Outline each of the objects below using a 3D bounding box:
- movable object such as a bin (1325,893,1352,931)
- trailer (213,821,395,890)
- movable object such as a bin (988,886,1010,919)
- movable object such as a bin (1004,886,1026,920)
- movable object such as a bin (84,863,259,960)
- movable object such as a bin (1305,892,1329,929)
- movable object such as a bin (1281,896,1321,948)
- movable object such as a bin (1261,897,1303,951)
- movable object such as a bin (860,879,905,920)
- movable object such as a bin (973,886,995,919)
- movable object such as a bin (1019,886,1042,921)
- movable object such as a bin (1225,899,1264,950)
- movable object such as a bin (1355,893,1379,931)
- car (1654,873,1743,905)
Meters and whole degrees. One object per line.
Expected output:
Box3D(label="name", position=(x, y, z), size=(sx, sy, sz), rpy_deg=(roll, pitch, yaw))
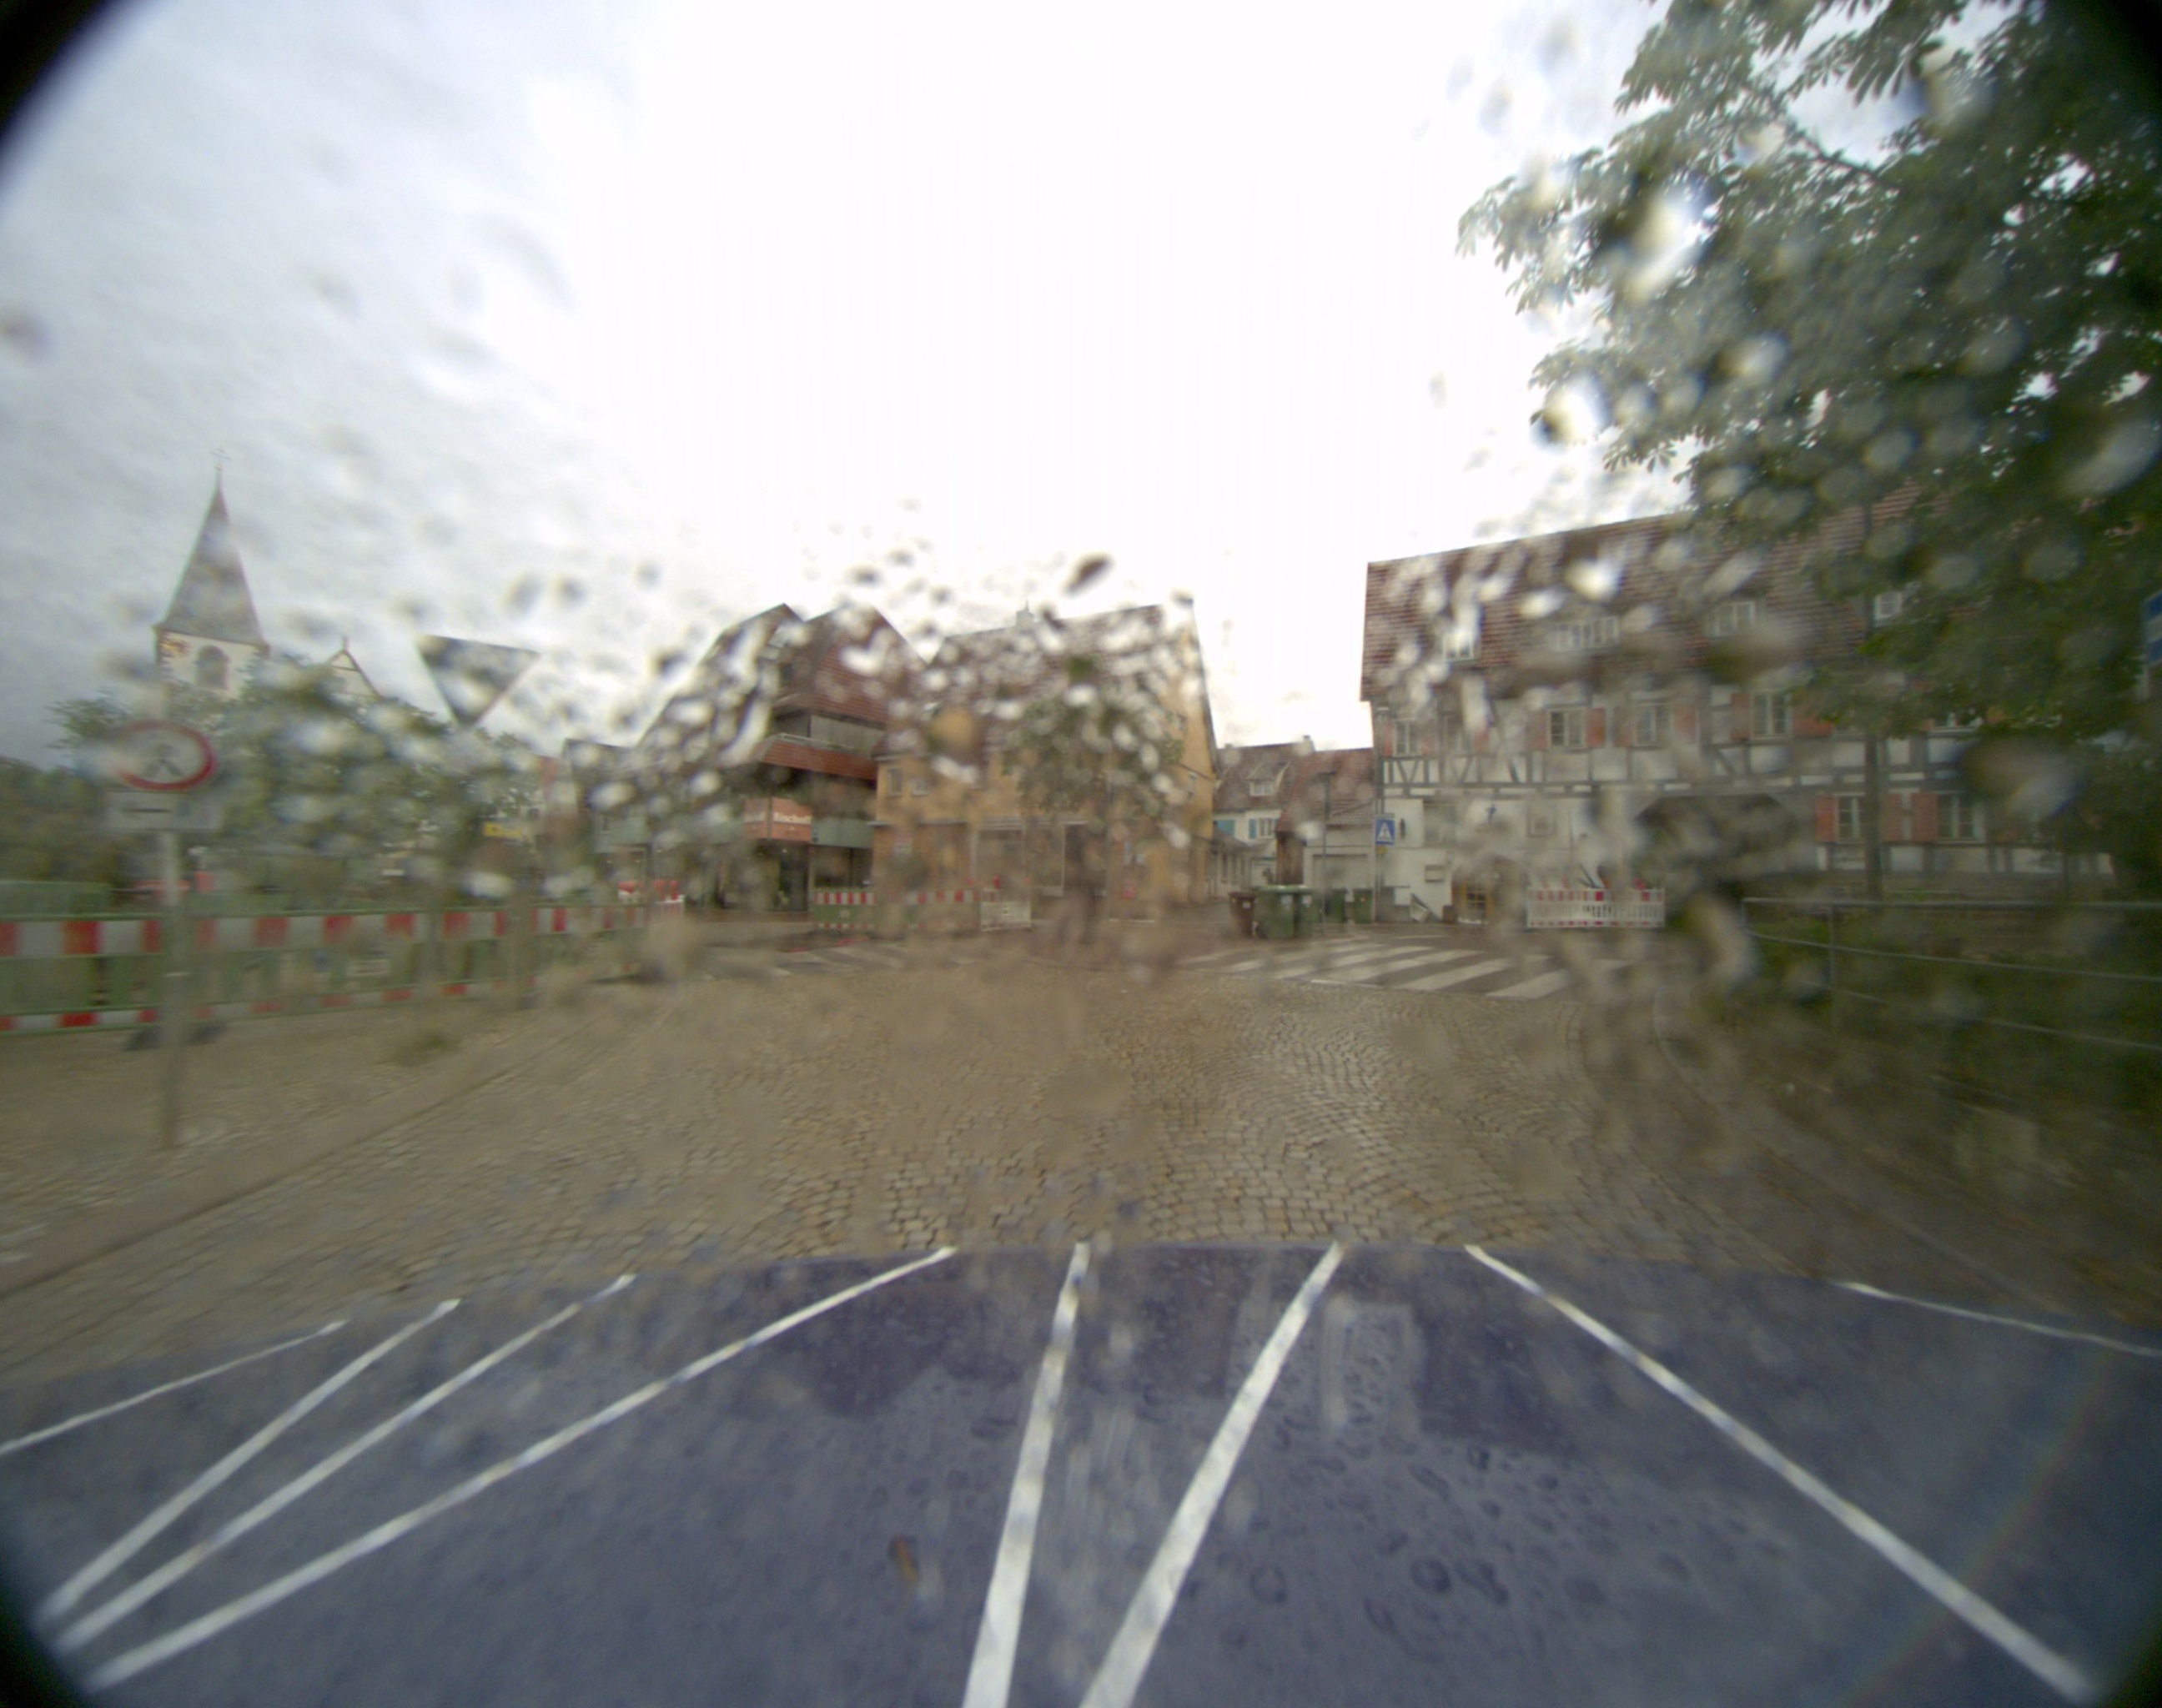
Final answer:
Box3D(label="movable object such as a bin", position=(7.445, 1.658, 21.954), size=(0.538, 1.059, 0.619), rpy_deg=(-3, -2, 37))
Box3D(label="trailer", position=(-37.453, 0.187, 36.937), size=(1.996, 2.928, 5.811), rpy_deg=(-1, -4, 16))
Box3D(label="movable object such as a bin", position=(-2.847, 1.685, 26.504), size=(0.578, 1.127, 0.518), rpy_deg=(1, 1, 24))
Box3D(label="movable object such as a bin", position=(-2.294, 1.693, 26.253), size=(0.578, 1.122, 0.518), rpy_deg=(1, 1, 24))
Box3D(label="movable object such as a bin", position=(-21.109, 1.284, 17.623), size=(3.990, 2.001, 1.915), rpy_deg=(-2, -2, 29))
Box3D(label="movable object such as a bin", position=(6.950, 1.667, 22.349), size=(0.585, 1.059, 0.682), rpy_deg=(-2, -2, 21))
Box3D(label="movable object such as a bin", position=(4.553, 1.394, 15.724), size=(0.546, 1.026, 0.533), rpy_deg=(0, -3, -36))
Box3D(label="movable object such as a bin", position=(4.071, 1.406, 15.377), size=(0.543, 1.030, 0.571), rpy_deg=(0, -3, -36))
Box3D(label="movable object such as a bin", position=(-7.616, 1.723, 29.159), size=(1.239, 1.504, 1.071), rpy_deg=(-1, 0, 28))
Box3D(label="movable object such as a bin", position=(-3.425, 1.691, 26.769), size=(0.578, 1.122, 0.518), rpy_deg=(0, 0, 24))
Box3D(label="movable object such as a bin", position=(-1.727, 1.689, 25.992), size=(0.578, 1.125, 0.520), rpy_deg=(0, 0, 24))
Box3D(label="movable object such as a bin", position=(3.358, 1.434, 15.622), size=(0.512, 0.998, 0.567), rpy_deg=(-1, -2, -27))
Box3D(label="movable object such as a bin", position=(8.161, 1.647, 21.713), size=(0.539, 1.059, 0.682), rpy_deg=(-2, -2, 15))
Box3D(label="car", position=(28.504, 1.643, 35.161), size=(2.979, 1.441, 1.416), rpy_deg=(-2, -4, 30))
